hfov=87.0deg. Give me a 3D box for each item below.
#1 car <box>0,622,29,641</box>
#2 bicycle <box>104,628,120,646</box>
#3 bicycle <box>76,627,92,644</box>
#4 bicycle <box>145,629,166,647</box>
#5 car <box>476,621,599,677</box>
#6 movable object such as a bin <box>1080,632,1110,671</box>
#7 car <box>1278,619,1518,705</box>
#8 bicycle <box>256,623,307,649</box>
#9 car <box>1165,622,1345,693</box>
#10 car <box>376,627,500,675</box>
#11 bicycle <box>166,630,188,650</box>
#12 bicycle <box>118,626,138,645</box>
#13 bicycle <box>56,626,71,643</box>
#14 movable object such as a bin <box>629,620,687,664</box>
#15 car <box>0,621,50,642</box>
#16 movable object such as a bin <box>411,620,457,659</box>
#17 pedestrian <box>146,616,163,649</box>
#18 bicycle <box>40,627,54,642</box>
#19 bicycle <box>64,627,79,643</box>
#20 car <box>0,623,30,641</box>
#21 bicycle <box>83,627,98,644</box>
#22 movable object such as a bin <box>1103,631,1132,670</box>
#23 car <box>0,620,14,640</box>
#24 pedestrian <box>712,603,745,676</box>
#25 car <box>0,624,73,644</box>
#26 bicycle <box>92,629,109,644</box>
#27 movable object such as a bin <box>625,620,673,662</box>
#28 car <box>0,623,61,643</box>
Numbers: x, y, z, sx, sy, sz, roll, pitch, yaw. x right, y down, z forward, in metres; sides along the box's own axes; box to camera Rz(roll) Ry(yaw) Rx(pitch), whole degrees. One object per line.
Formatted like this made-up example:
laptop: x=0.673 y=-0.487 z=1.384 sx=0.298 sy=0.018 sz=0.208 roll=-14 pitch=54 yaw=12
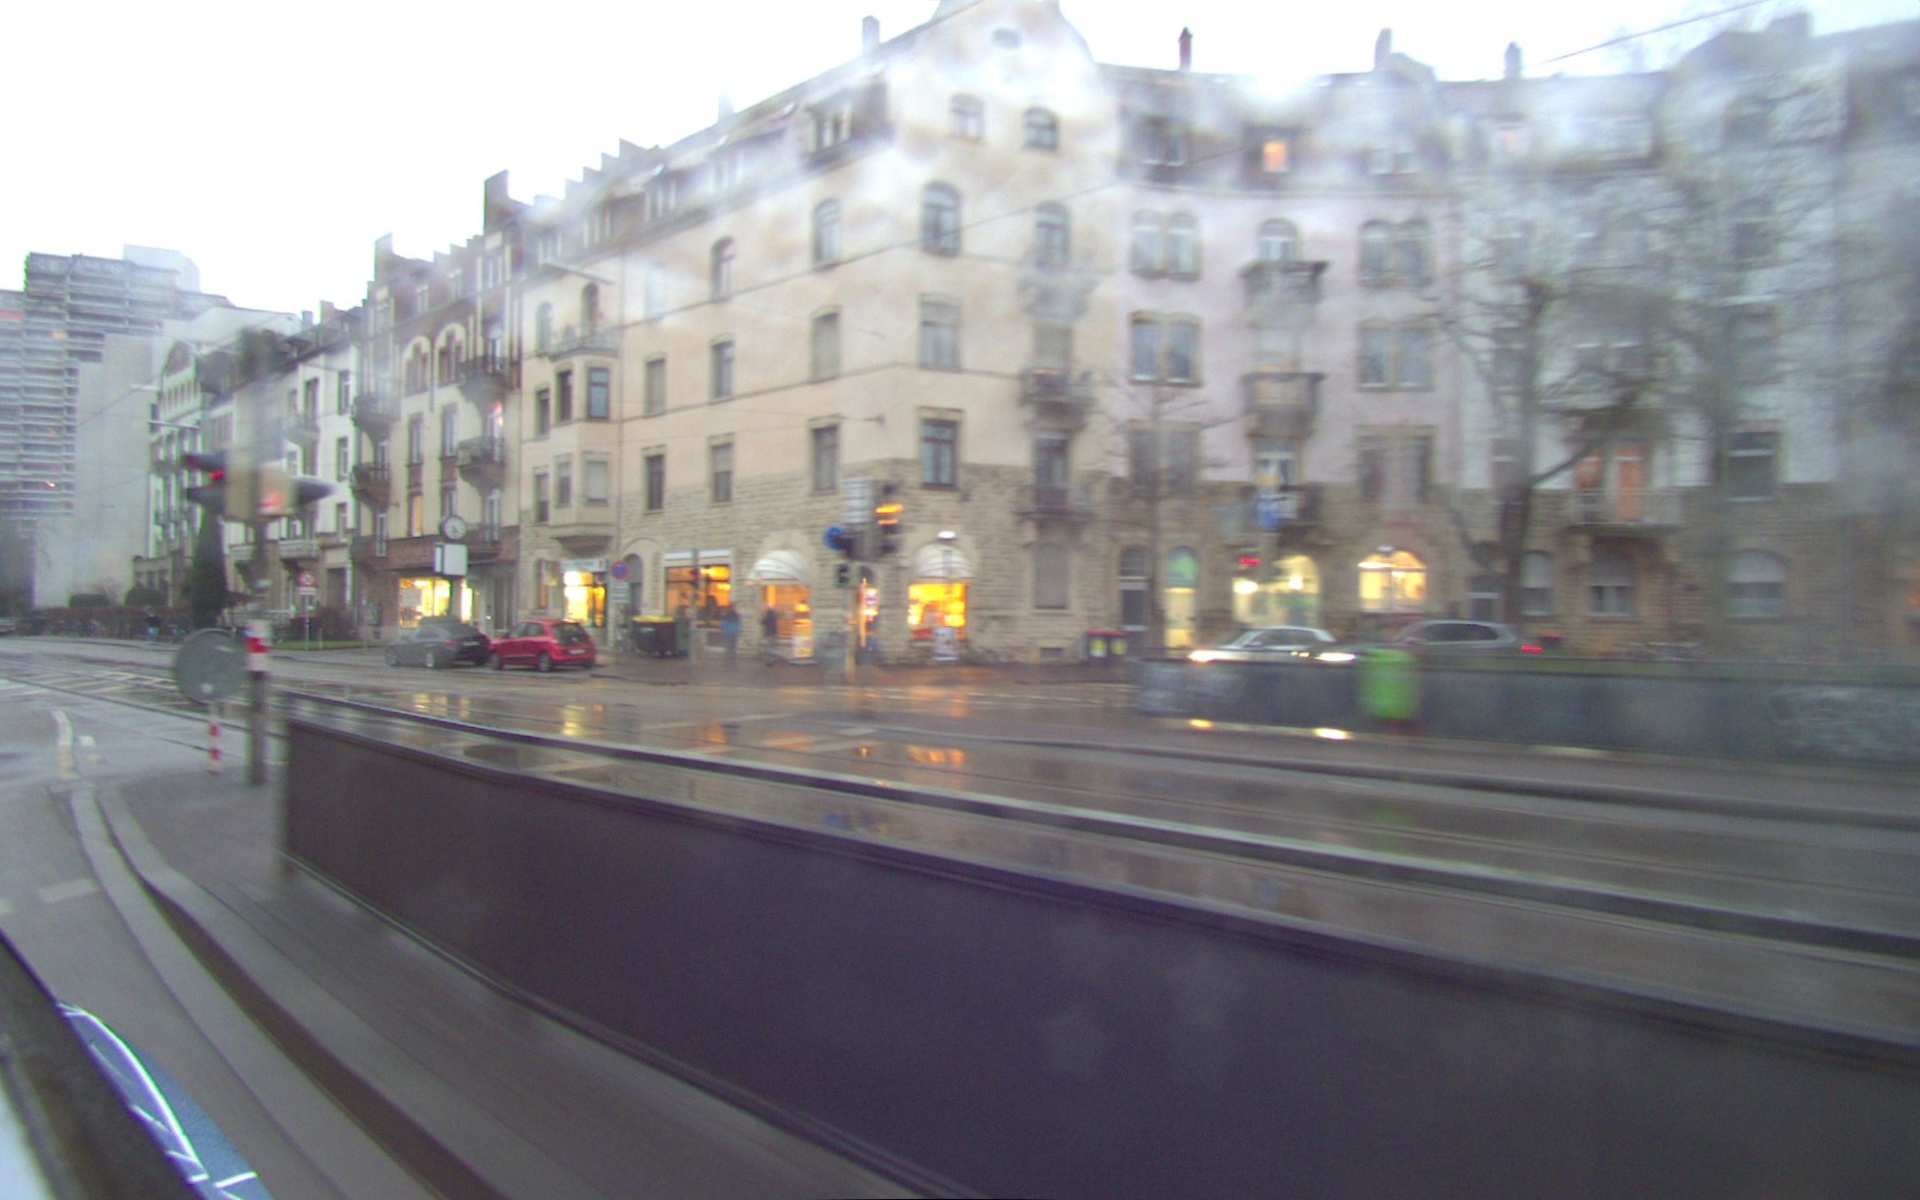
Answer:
car: x=-80.035 y=2.656 z=84.002 sx=1.725 sy=1.424 sz=3.793 roll=-1 pitch=1 yaw=39
bicycle: x=-50.045 y=2.179 z=59.706 sx=1.711 sy=1.014 sz=0.429 roll=-1 pitch=1 yaw=40
bicycle: x=-54.584 y=2.184 z=63.047 sx=1.879 sy=1.014 sz=0.429 roll=-1 pitch=1 yaw=40
bicycle: x=-43.009 y=2.022 z=54.089 sx=2.209 sy=0.896 sz=0.524 roll=-1 pitch=1 yaw=43
car: x=-12.893 y=1.458 z=30.834 sx=3.667 sy=1.527 sz=1.659 roll=-1 pitch=1 yaw=33
movable object such as a bin: x=3.968 y=1.506 z=29.812 sx=0.638 sy=1.144 sz=0.694 roll=1 pitch=-2 yaw=-15
car: x=9.241 y=1.263 z=21.520 sx=4.274 sy=1.595 sz=1.941 roll=-1 pitch=0 yaw=-8
bicycle: x=-33.180 y=1.734 z=49.523 sx=0.530 sy=1.167 sz=1.966 roll=-1 pitch=1 yaw=37
car: x=7.020 y=1.343 z=24.272 sx=3.769 sy=1.483 sz=1.615 roll=-2 pitch=1 yaw=-4
car: x=-17.466 y=1.663 z=33.772 sx=4.498 sy=1.400 sz=1.786 roll=-1 pitch=1 yaw=35
bicycle: x=-39.565 y=2.016 z=51.101 sx=2.086 sy=0.947 sz=0.524 roll=-1 pitch=1 yaw=43
bicycle: x=-47.127 y=2.014 z=57.308 sx=2.207 sy=1.014 sz=0.479 roll=-1 pitch=1 yaw=40
bicycle: x=-59.010 y=2.261 z=66.585 sx=1.879 sy=1.014 sz=0.429 roll=-1 pitch=1 yaw=40
movable object such as a bin: x=-10.122 y=1.385 z=33.906 sx=1.279 sy=1.382 sz=1.337 roll=-1 pitch=1 yaw=37
car: x=-72.211 y=2.440 z=77.295 sx=1.725 sy=1.424 sz=3.793 roll=-1 pitch=1 yaw=39
movable object such as a bin: x=-20.762 y=1.538 z=39.968 sx=1.072 sy=1.442 sz=1.225 roll=-1 pitch=1 yaw=37
pedestrian: x=-41.061 y=1.650 z=51.589 sx=0.448 sy=1.654 sz=0.567 roll=-1 pitch=1 yaw=35
bicycle: x=-62.857 y=2.387 z=69.679 sx=1.879 sy=1.014 sz=0.463 roll=-1 pitch=1 yaw=40
bicycle: x=-57.412 y=2.259 z=65.371 sx=1.879 sy=1.014 sz=0.429 roll=-1 pitch=1 yaw=40
car: x=-76.906 y=2.590 z=80.728 sx=1.725 sy=1.424 sz=3.793 roll=-1 pitch=0 yaw=39
bicycle: x=-53.178 y=2.162 z=61.892 sx=1.604 sy=1.014 sz=0.429 roll=-1 pitch=1 yaw=40
movable object such as a bin: x=4.667 y=1.487 z=29.947 sx=0.638 sy=1.144 sz=0.655 roll=1 pitch=-2 yaw=-15
car: x=-85.015 y=2.655 z=88.019 sx=1.725 sy=1.730 sz=3.793 roll=-1 pitch=1 yaw=39
pedestrian: x=-6.242 y=1.046 z=27.258 sx=0.784 sy=1.892 sz=0.897 roll=-2 pitch=1 yaw=-16
car: x=-67.711 y=2.442 z=74.159 sx=1.725 sy=1.424 sz=3.792 roll=-1 pitch=-2 yaw=39
bicycle: x=-51.560 y=2.204 z=60.711 sx=1.766 sy=0.838 sz=0.437 roll=-1 pitch=1 yaw=40
movable object such as a bin: x=-10.820 y=1.422 z=35.225 sx=1.272 sy=1.382 sz=0.992 roll=-1 pitch=1 yaw=37
car: x=-69.907 y=2.462 z=75.687 sx=1.725 sy=1.424 sz=3.792 roll=-1 pitch=-2 yaw=39
